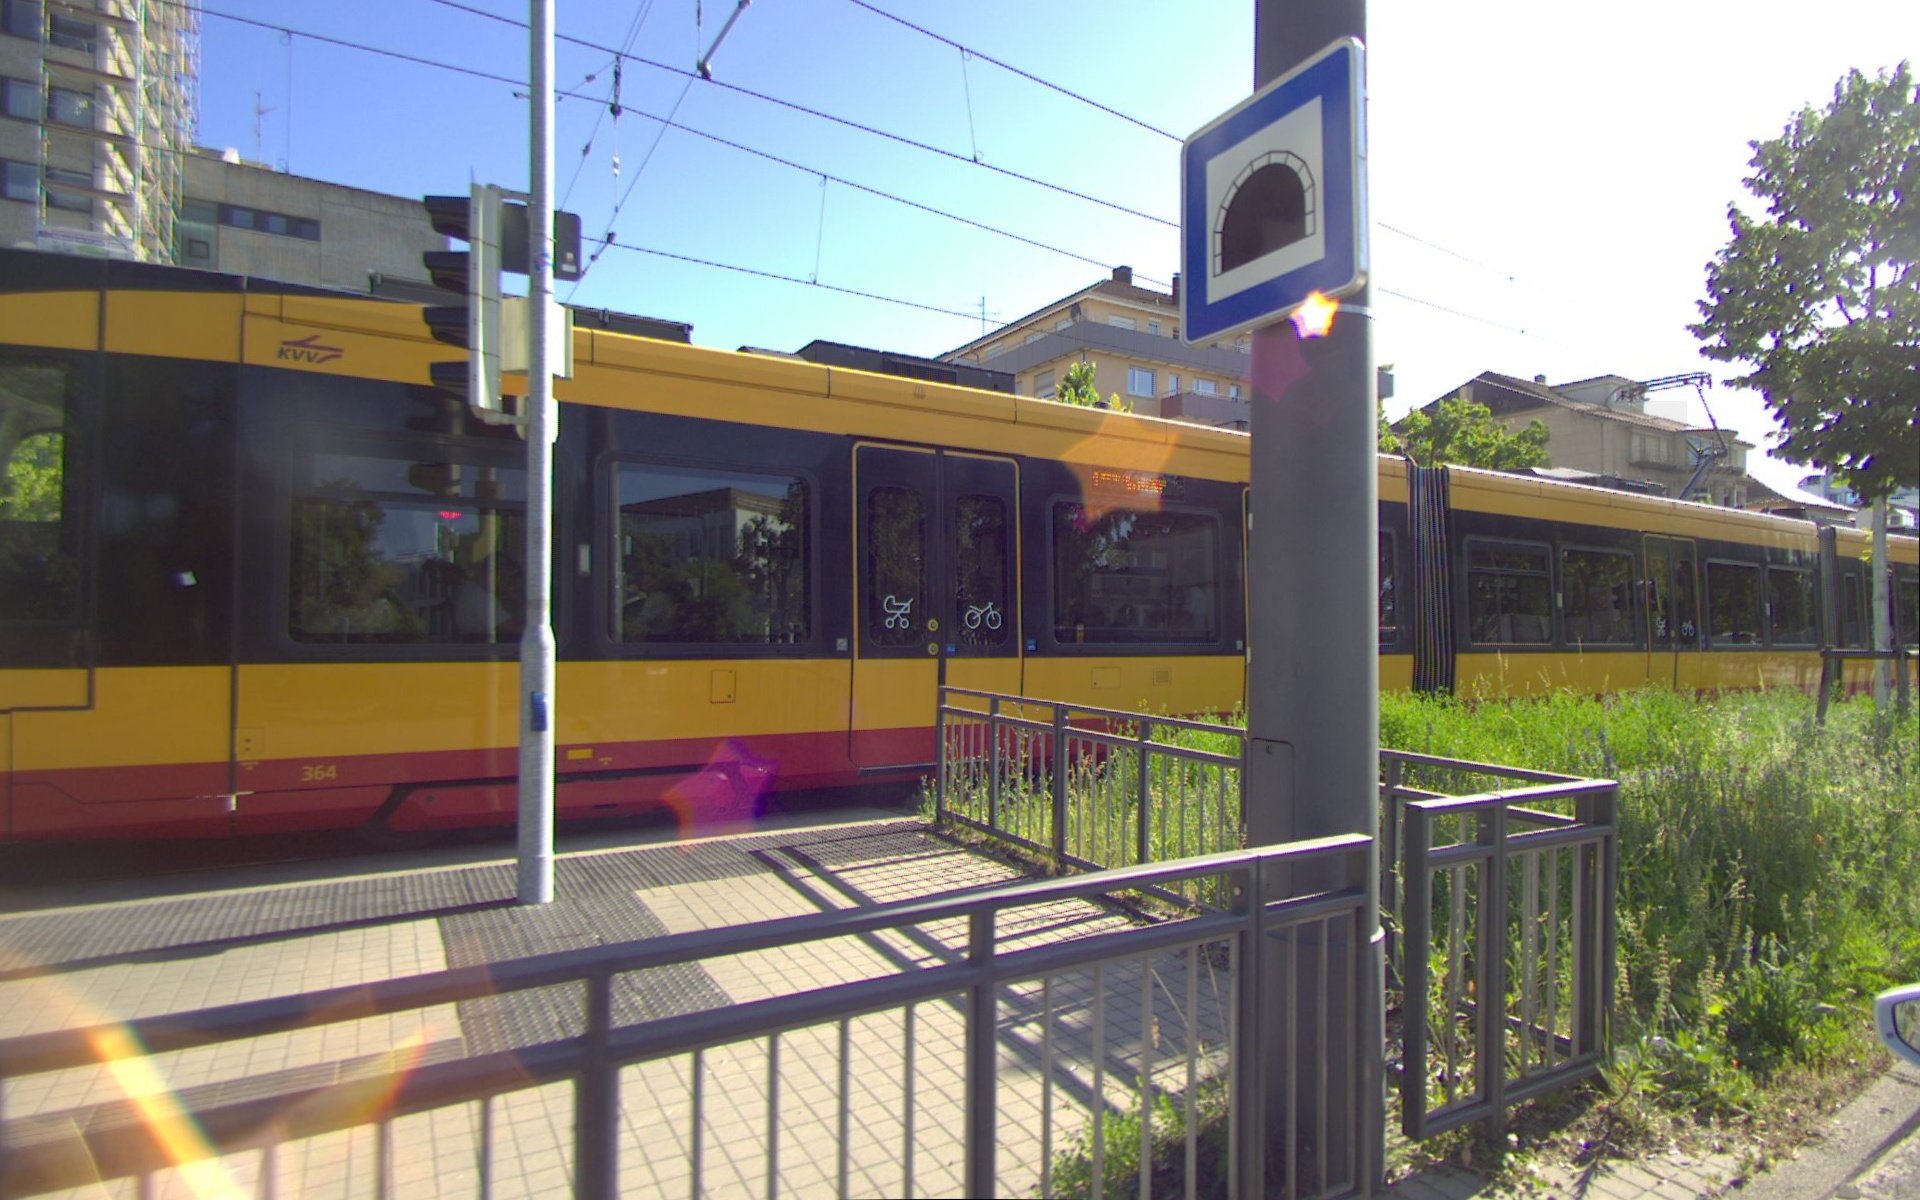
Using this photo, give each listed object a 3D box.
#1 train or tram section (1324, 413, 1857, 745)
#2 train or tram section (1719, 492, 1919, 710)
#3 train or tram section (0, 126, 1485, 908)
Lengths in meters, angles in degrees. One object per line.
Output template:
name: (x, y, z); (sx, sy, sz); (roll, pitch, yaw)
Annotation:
train or tram section: (9.991, -0.120, 15.031); (11.188, 3.718, 1.983); (1, 0, -32)
train or tram section: (19.691, 0.135, 20.926); (11.548, 3.718, 1.984); (1, 0, -31)
train or tram section: (-0.549, -0.285, 8.456); (13.994, 3.718, 1.983); (1, 0, -32)
